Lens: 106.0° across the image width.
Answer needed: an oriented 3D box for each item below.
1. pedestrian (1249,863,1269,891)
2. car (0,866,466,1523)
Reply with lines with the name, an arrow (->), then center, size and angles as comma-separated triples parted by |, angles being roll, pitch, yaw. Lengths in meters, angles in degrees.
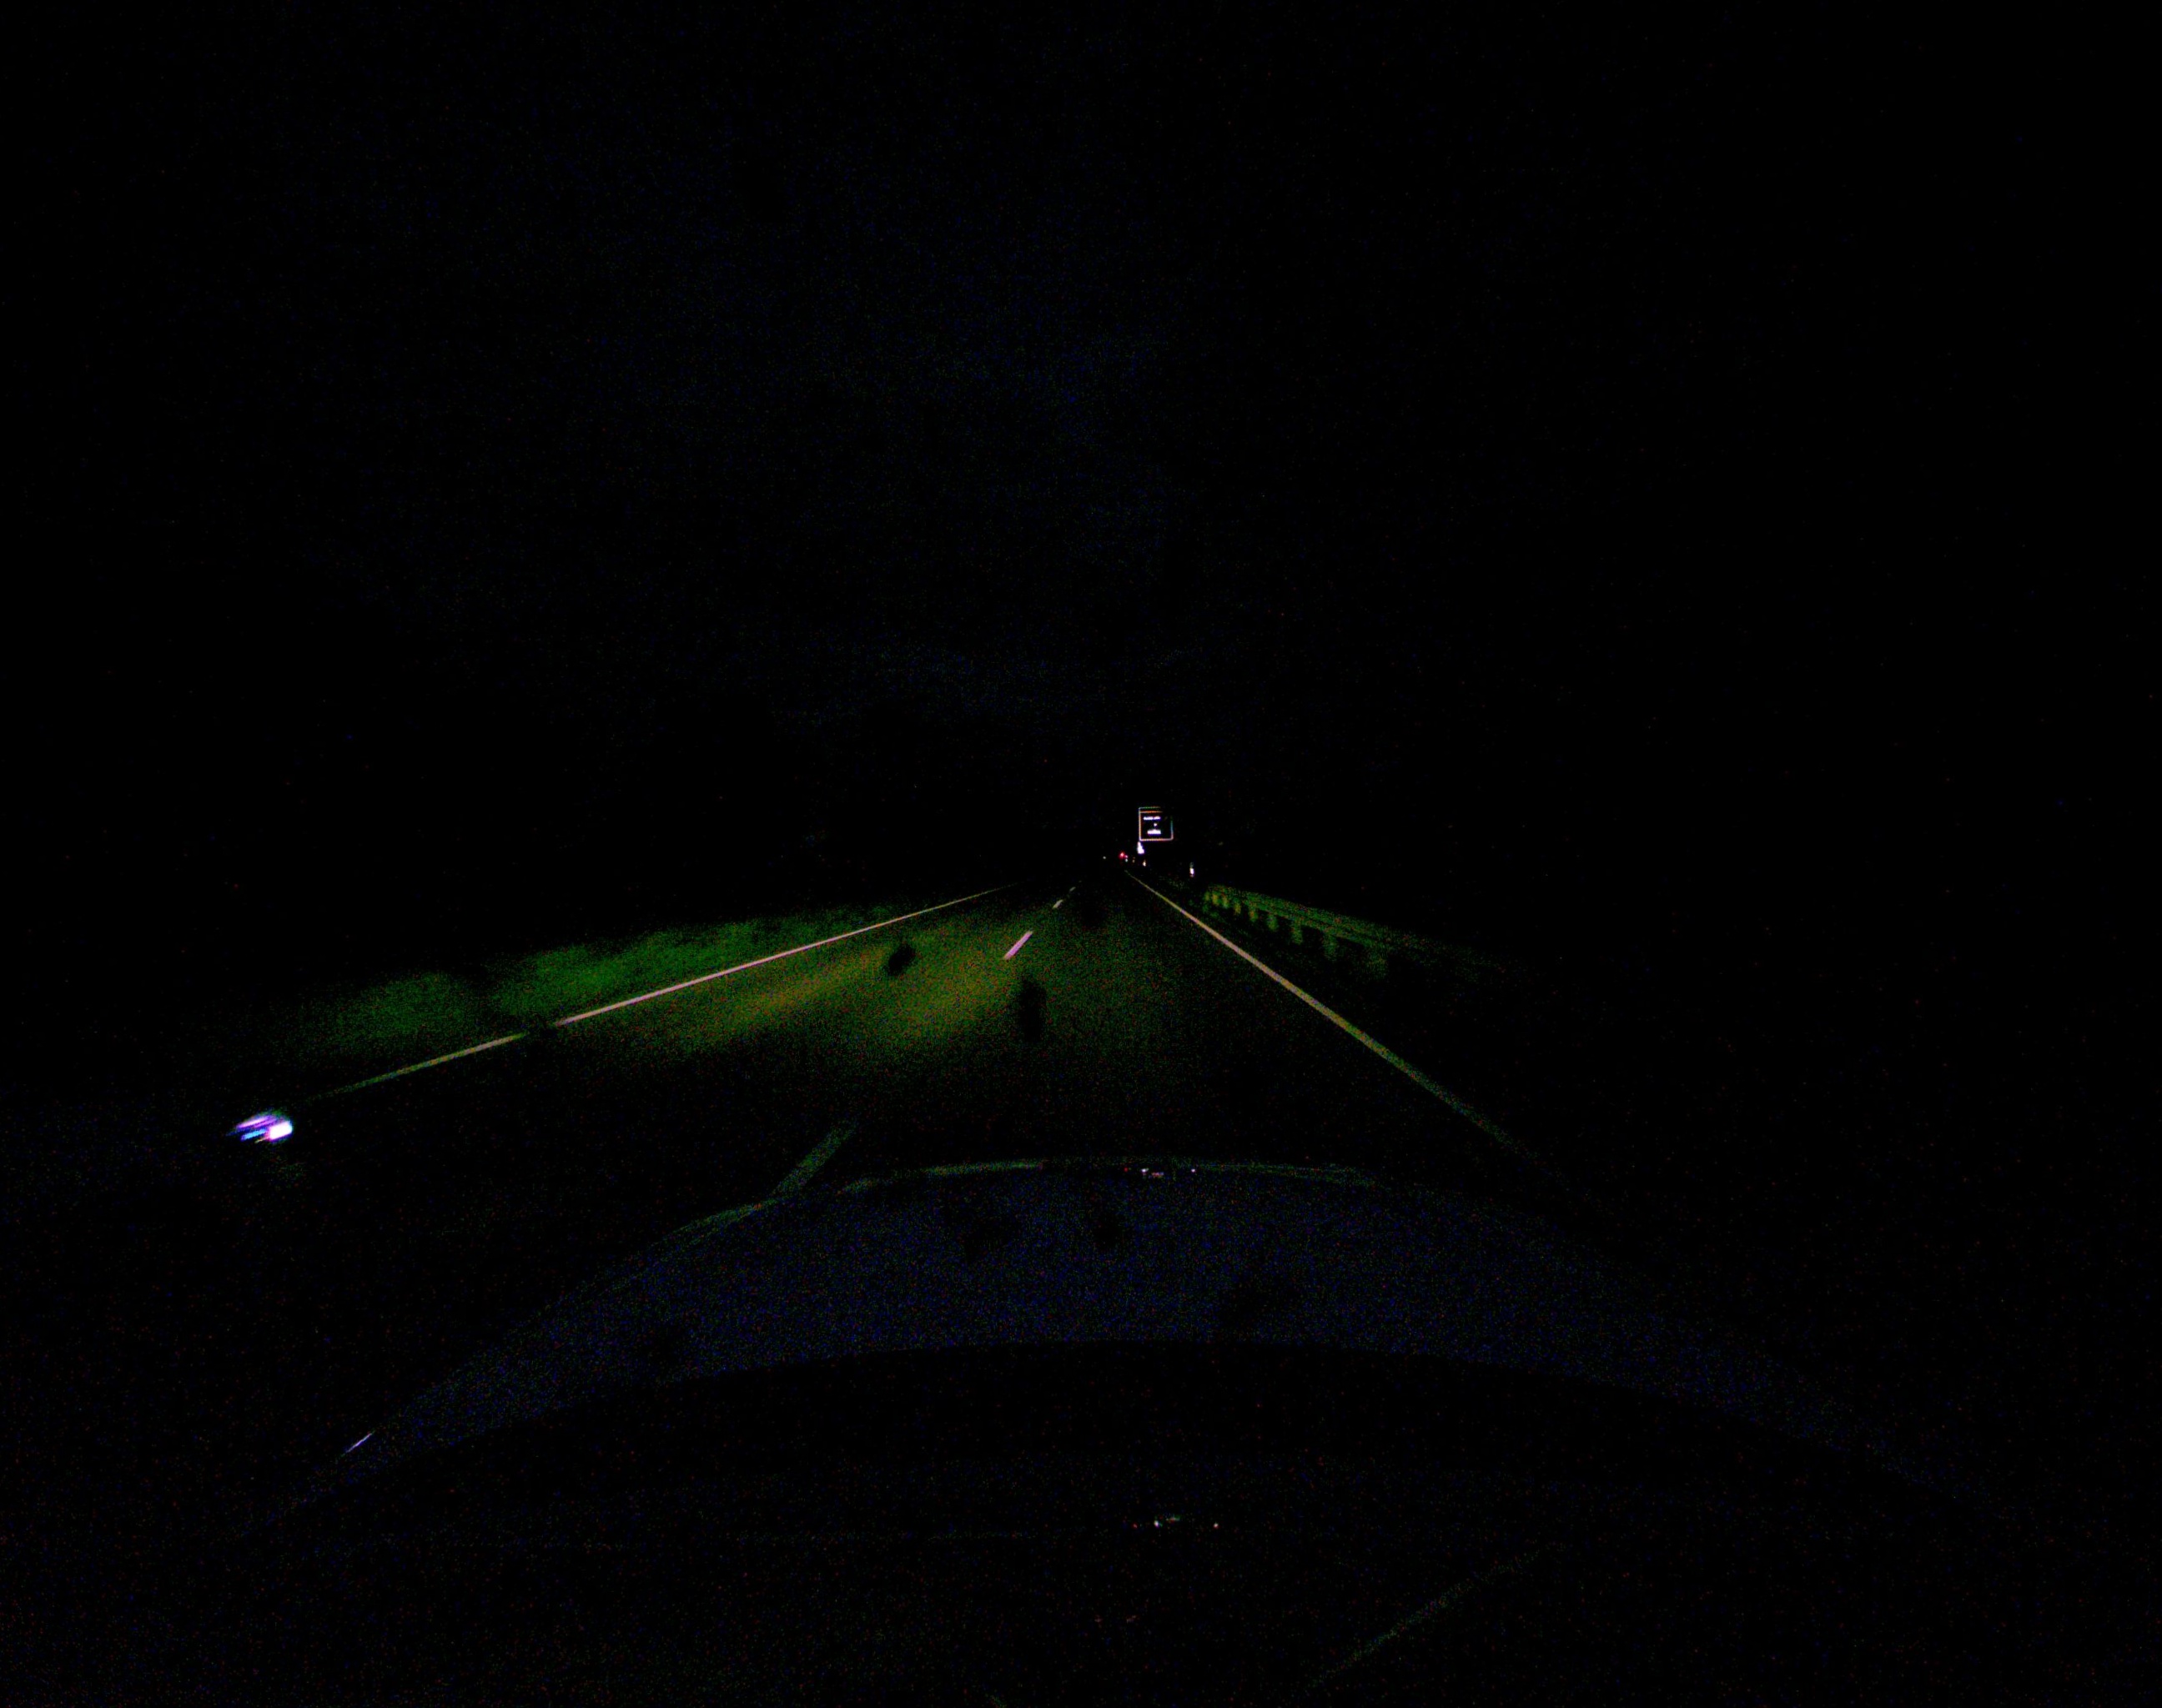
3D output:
pedestrian -> 11.009, 1.415, 50.386 | 1.058, 1.643, 1.119 | 0, -1, 2
car -> -3.314, 0.786, 0.955 | 1.636, 1.490, 4.580 | 0, 0, 1
